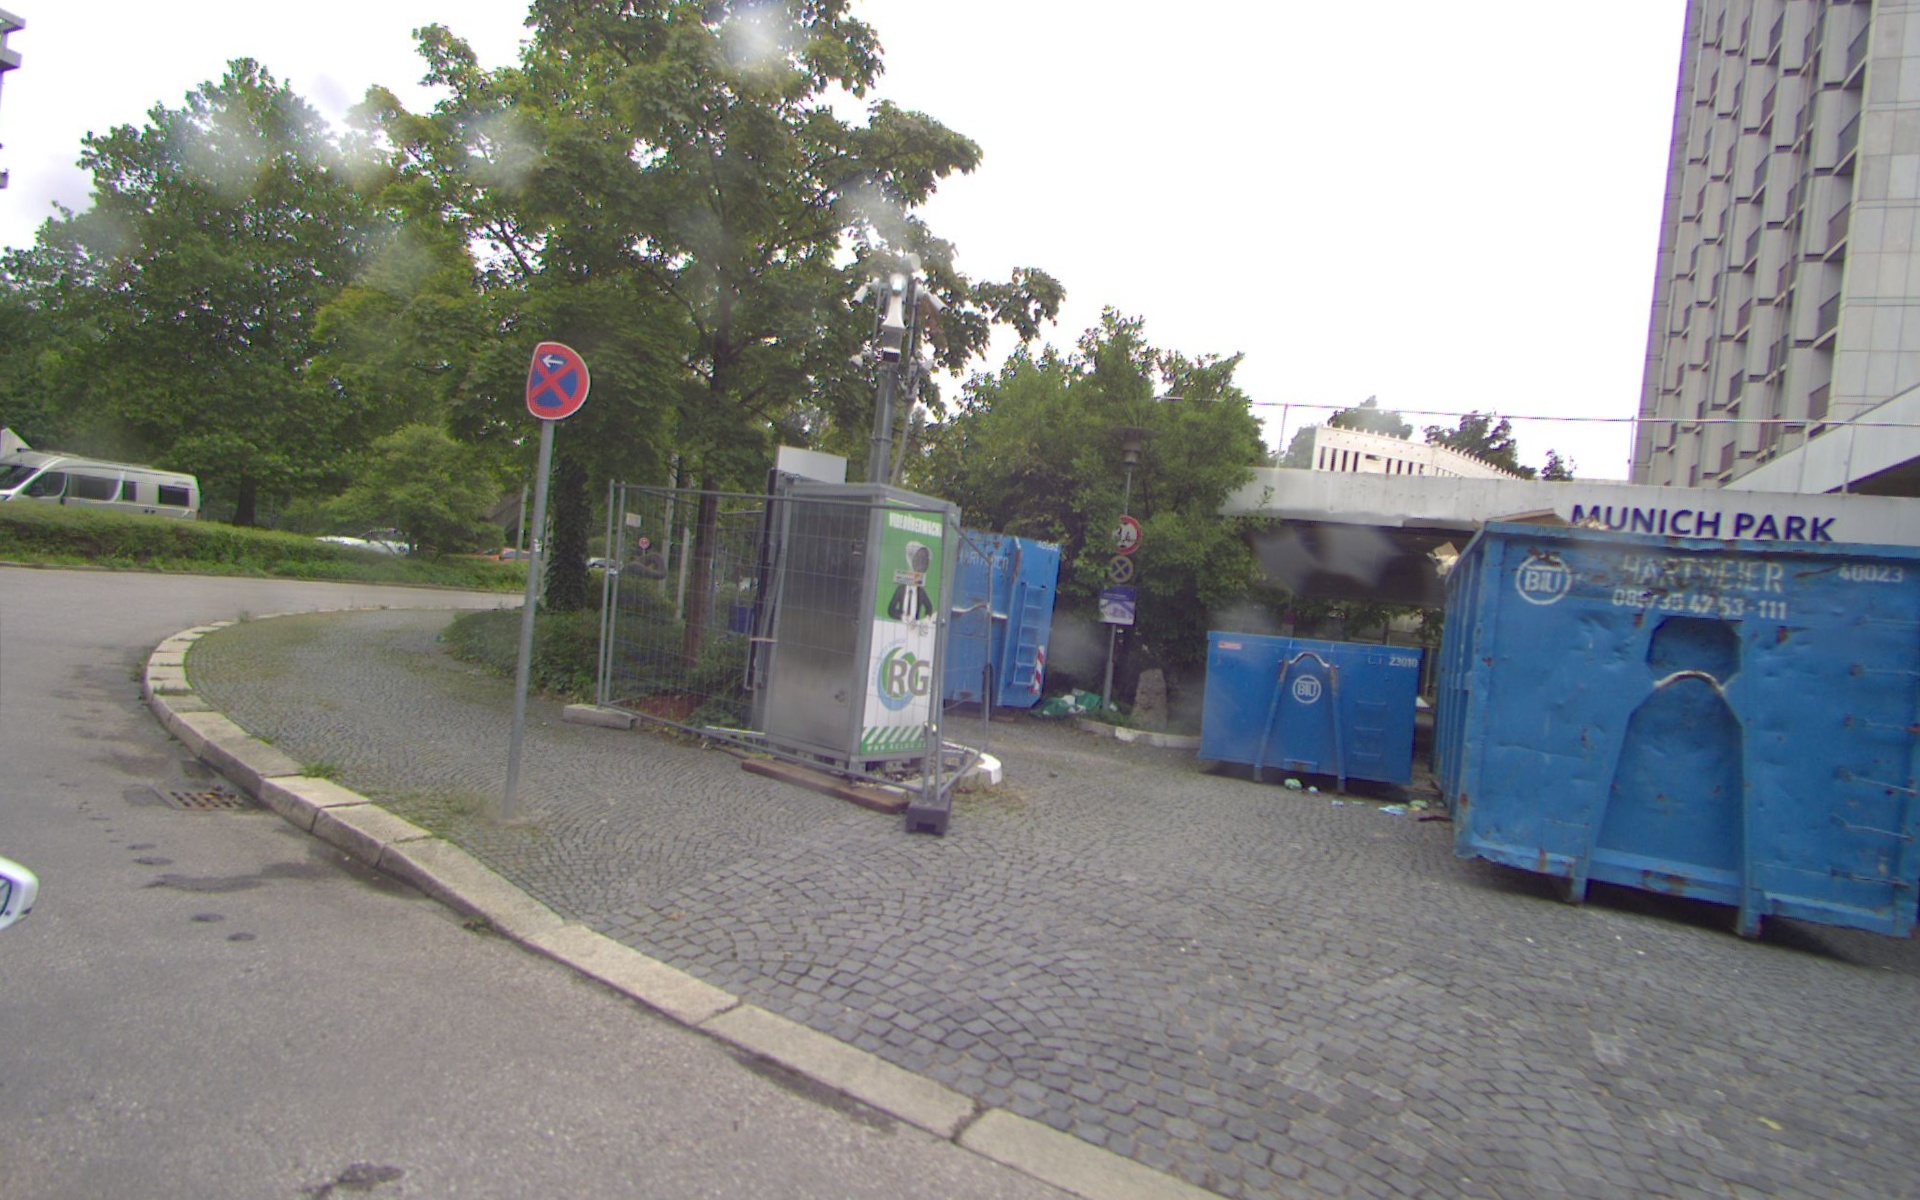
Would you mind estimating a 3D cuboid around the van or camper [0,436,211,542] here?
[{"bbox_3d":[-26.440,-3.285,30.233,2.212,2.309,6.422,7,0,9],"label":"van or camper"}]

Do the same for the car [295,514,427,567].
[{"bbox_3d":[-23.569,-2.315,39.747,1.964,1.527,3.997,7,0,24],"label":"car"}]

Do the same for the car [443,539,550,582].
[{"bbox_3d":[-20.910,-1.750,45.517,1.964,1.427,3.997,7,0,24],"label":"car"}]
